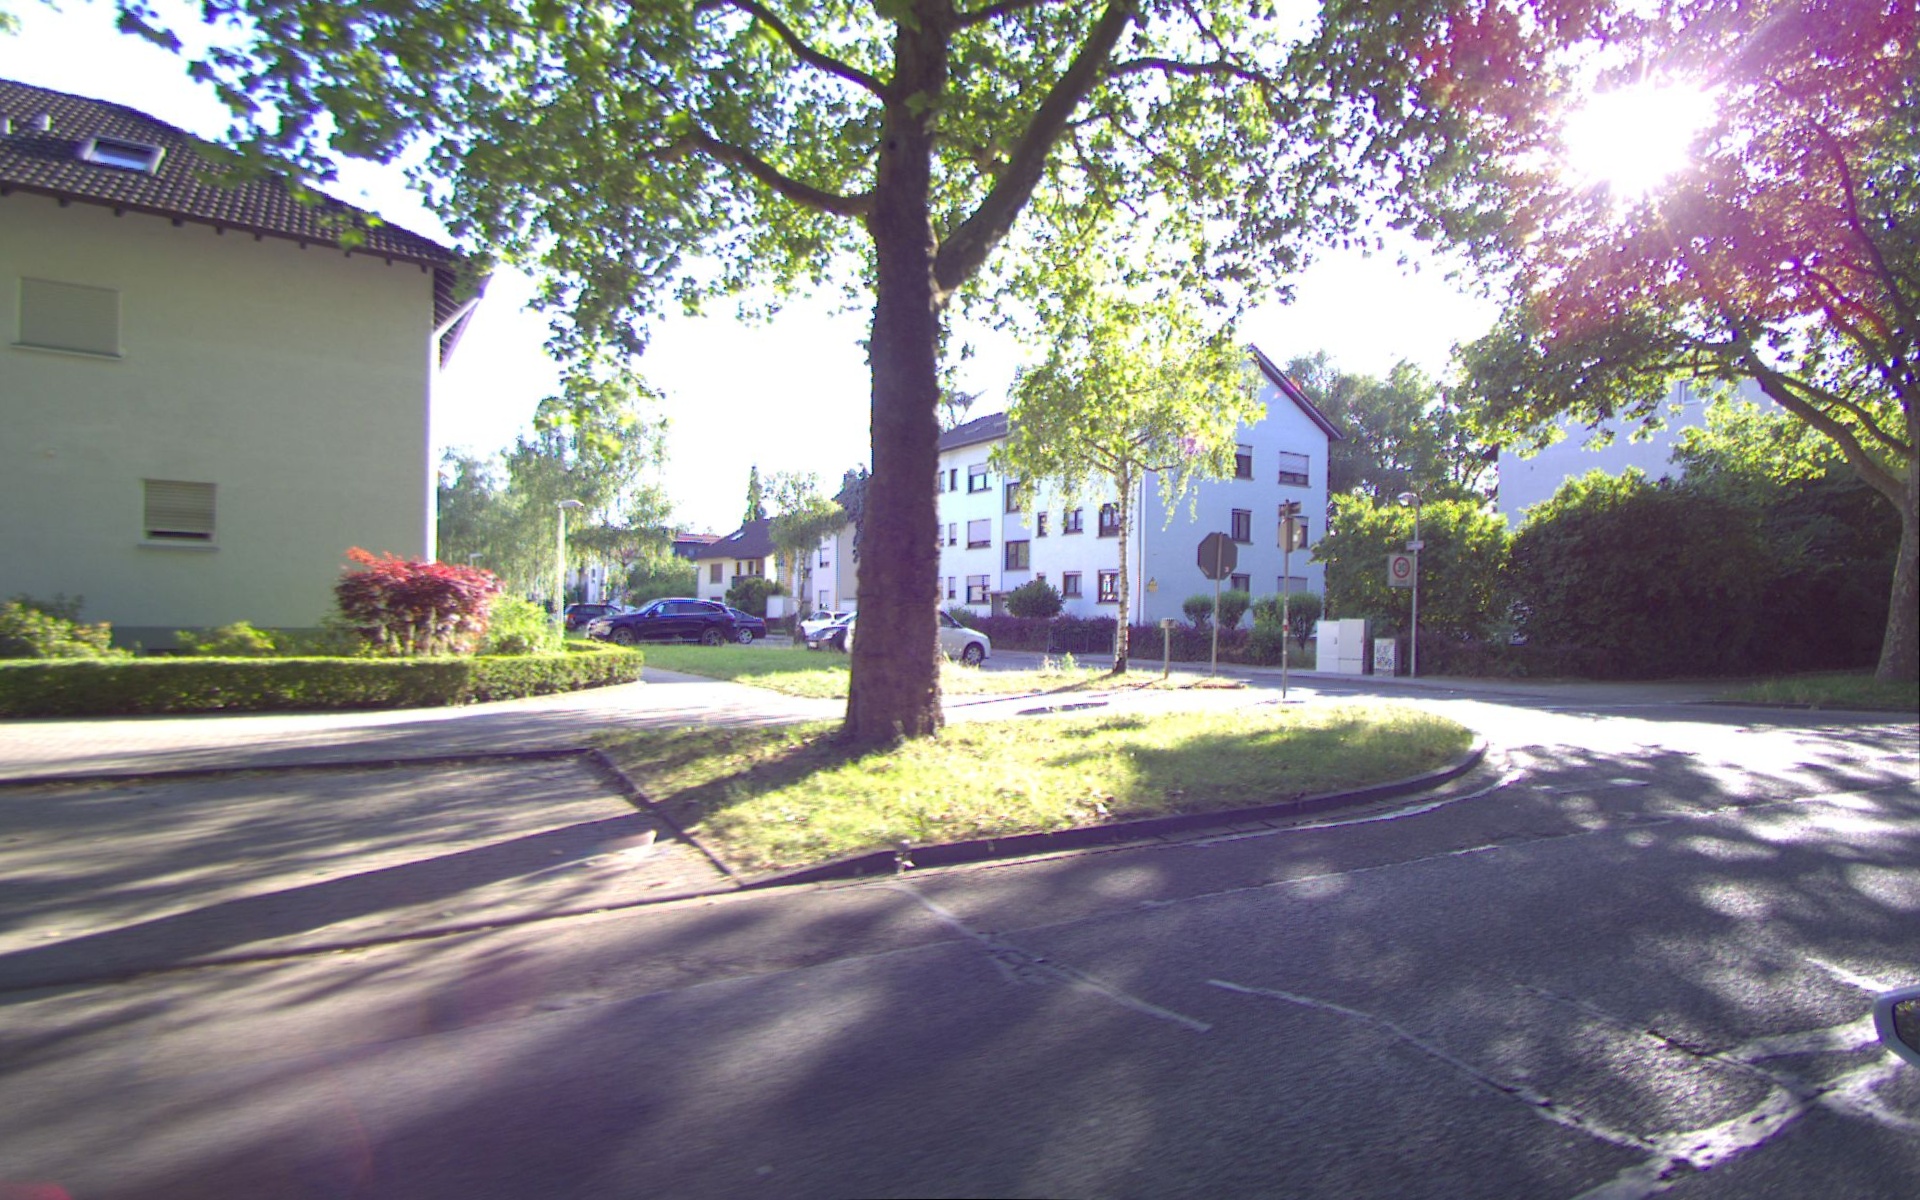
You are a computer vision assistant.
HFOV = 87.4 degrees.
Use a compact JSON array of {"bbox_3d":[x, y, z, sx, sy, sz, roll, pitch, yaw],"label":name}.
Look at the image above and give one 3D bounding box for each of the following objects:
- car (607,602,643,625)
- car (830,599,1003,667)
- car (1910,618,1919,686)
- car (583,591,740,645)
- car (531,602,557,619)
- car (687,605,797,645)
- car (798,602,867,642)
[{"bbox_3d":[-26.584,1.053,79.608,1.977,1.762,3.967,1,0,-30],"label":"car"},{"bbox_3d":[-1.098,0.830,25.764,3.957,1.596,1.982,2,0,-33],"label":"car"},{"bbox_3d":[24.621,1.289,22.742,1.979,1.605,4.159,2,0,-33],"label":"car"},{"bbox_3d":[-9.514,0.594,32.129,4.417,1.596,1.981,2,0,-34],"label":"car"},{"bbox_3d":[-44.677,1.109,107.914,1.978,1.762,3.965,1,0,-32],"label":"car"},{"bbox_3d":[-8.947,1.036,41.232,3.959,1.506,1.981,2,-1,-34],"label":"car"},{"bbox_3d":[-6.103,1.018,47.803,1.882,1.762,3.967,1,0,-30],"label":"car"}]
